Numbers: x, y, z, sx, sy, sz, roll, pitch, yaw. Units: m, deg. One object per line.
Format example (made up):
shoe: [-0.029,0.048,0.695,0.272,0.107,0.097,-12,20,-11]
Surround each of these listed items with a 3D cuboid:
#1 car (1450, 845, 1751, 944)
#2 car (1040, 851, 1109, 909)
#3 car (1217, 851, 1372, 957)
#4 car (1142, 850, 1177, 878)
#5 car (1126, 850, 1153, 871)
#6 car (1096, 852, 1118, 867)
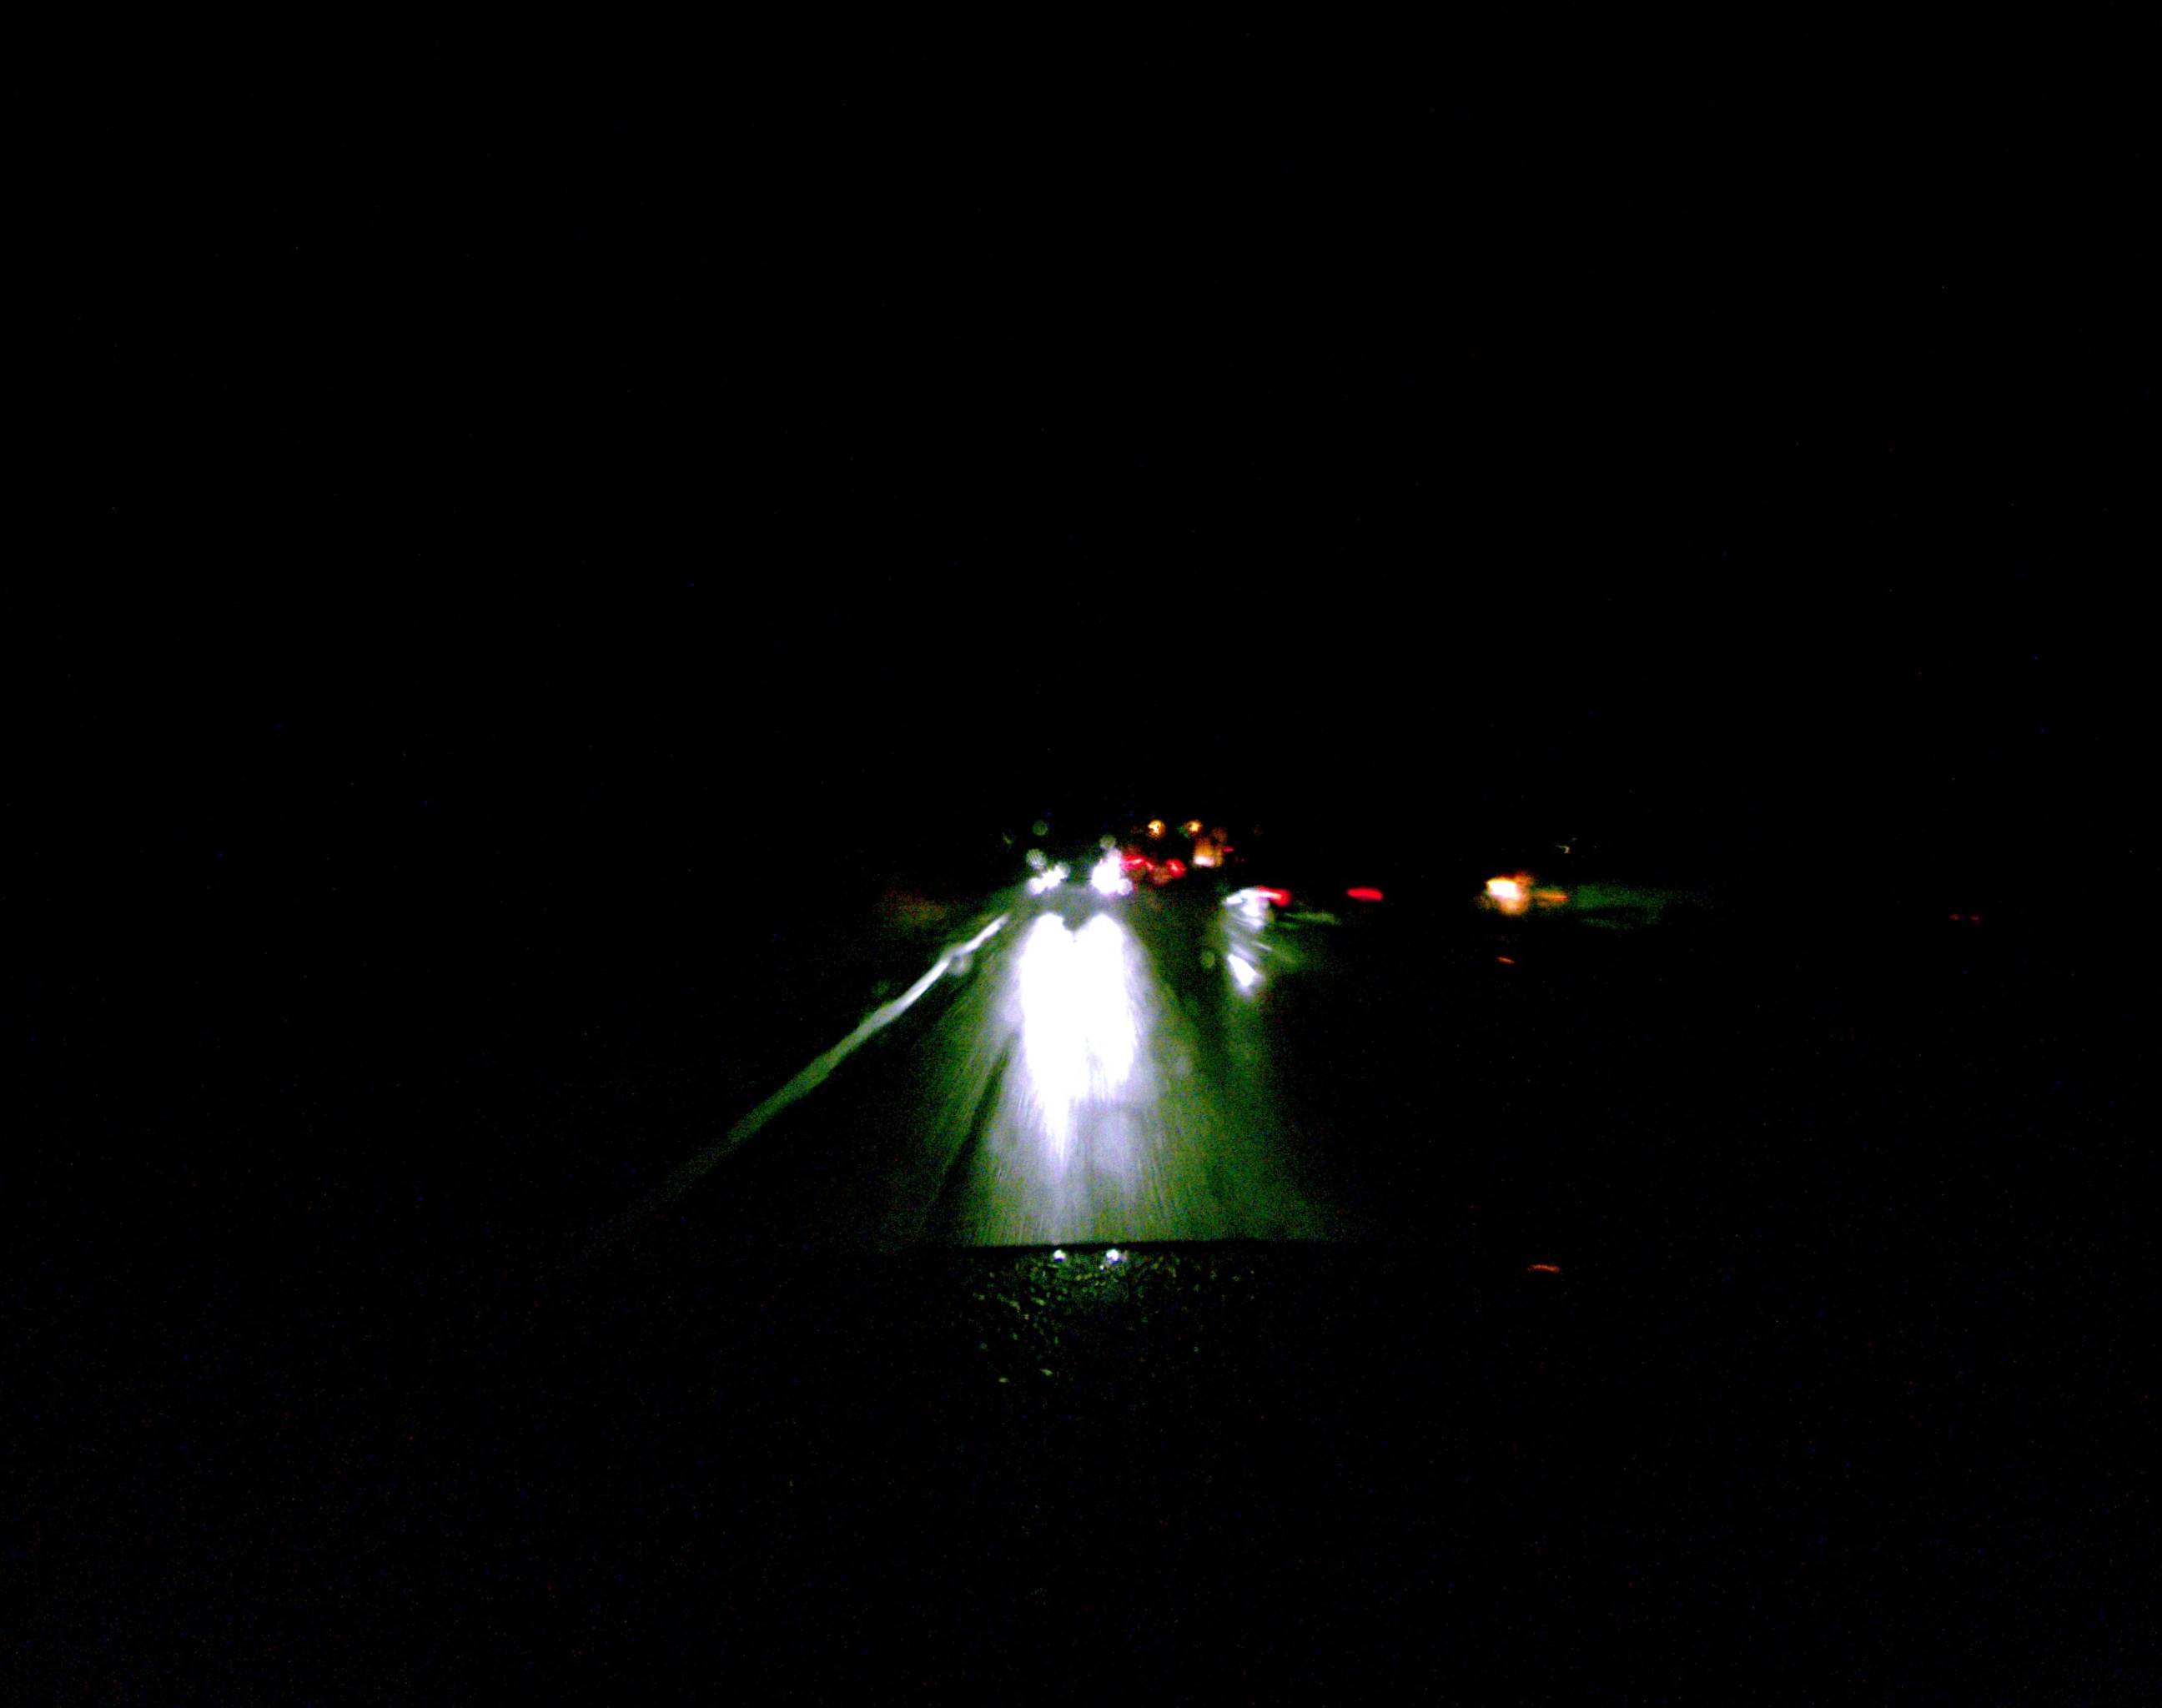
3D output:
car: [10.862,0.802,16.230,4.944,1.827,1.934,2,1,5]
car: [-0.116,0.711,22.852,1.901,1.552,4.000,0,1,2]
car: [3.441,0.732,12.893,1.667,1.551,3.561,0,0,1]
car: [4.235,0.517,41.339,1.602,1.416,3.552,0,1,1]
car: [4.374,0.472,57.609,1.807,1.563,4.190,0,1,1]
car: [2.931,0.599,83.839,1.899,1.552,4.003,0,1,10]
